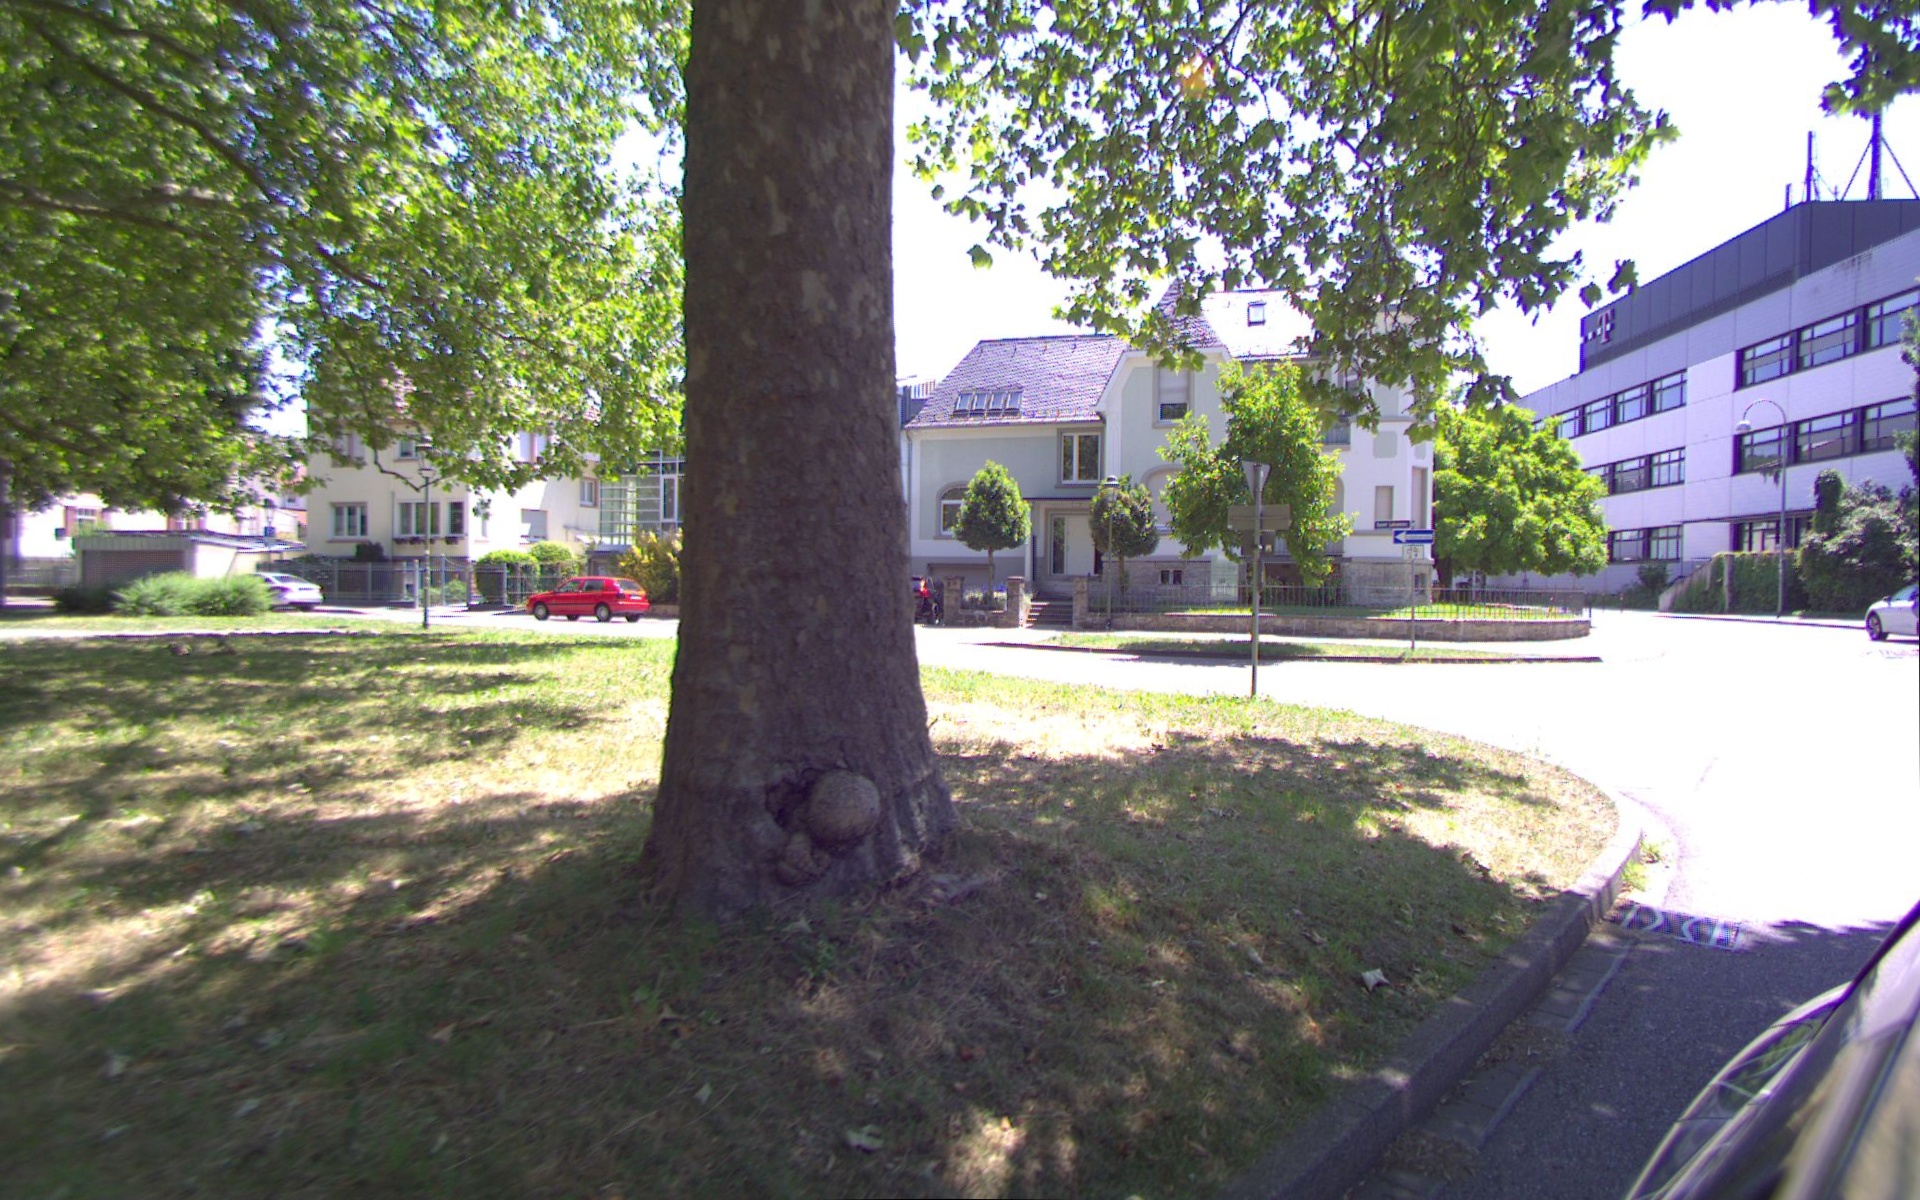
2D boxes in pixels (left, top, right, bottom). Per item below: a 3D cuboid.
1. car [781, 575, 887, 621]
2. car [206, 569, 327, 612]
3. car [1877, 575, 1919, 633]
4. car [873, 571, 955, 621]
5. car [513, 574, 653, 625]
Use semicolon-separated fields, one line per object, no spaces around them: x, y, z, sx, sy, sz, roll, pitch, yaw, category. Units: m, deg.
-4.236;-0.108;34.590;1.976;1.408;3.973;1;2;21;car
-26.014;-0.380;37.986;3.947;1.526;1.744;1;1;18;car
26.418;0.113;26.679;1.828;1.549;4.309;0;1;20;car
-1.494;-0.169;34.352;1.968;1.587;3.989;0;2;10;car
-12.084;-0.035;32.495;3.944;1.543;1.745;1;0;16;car
